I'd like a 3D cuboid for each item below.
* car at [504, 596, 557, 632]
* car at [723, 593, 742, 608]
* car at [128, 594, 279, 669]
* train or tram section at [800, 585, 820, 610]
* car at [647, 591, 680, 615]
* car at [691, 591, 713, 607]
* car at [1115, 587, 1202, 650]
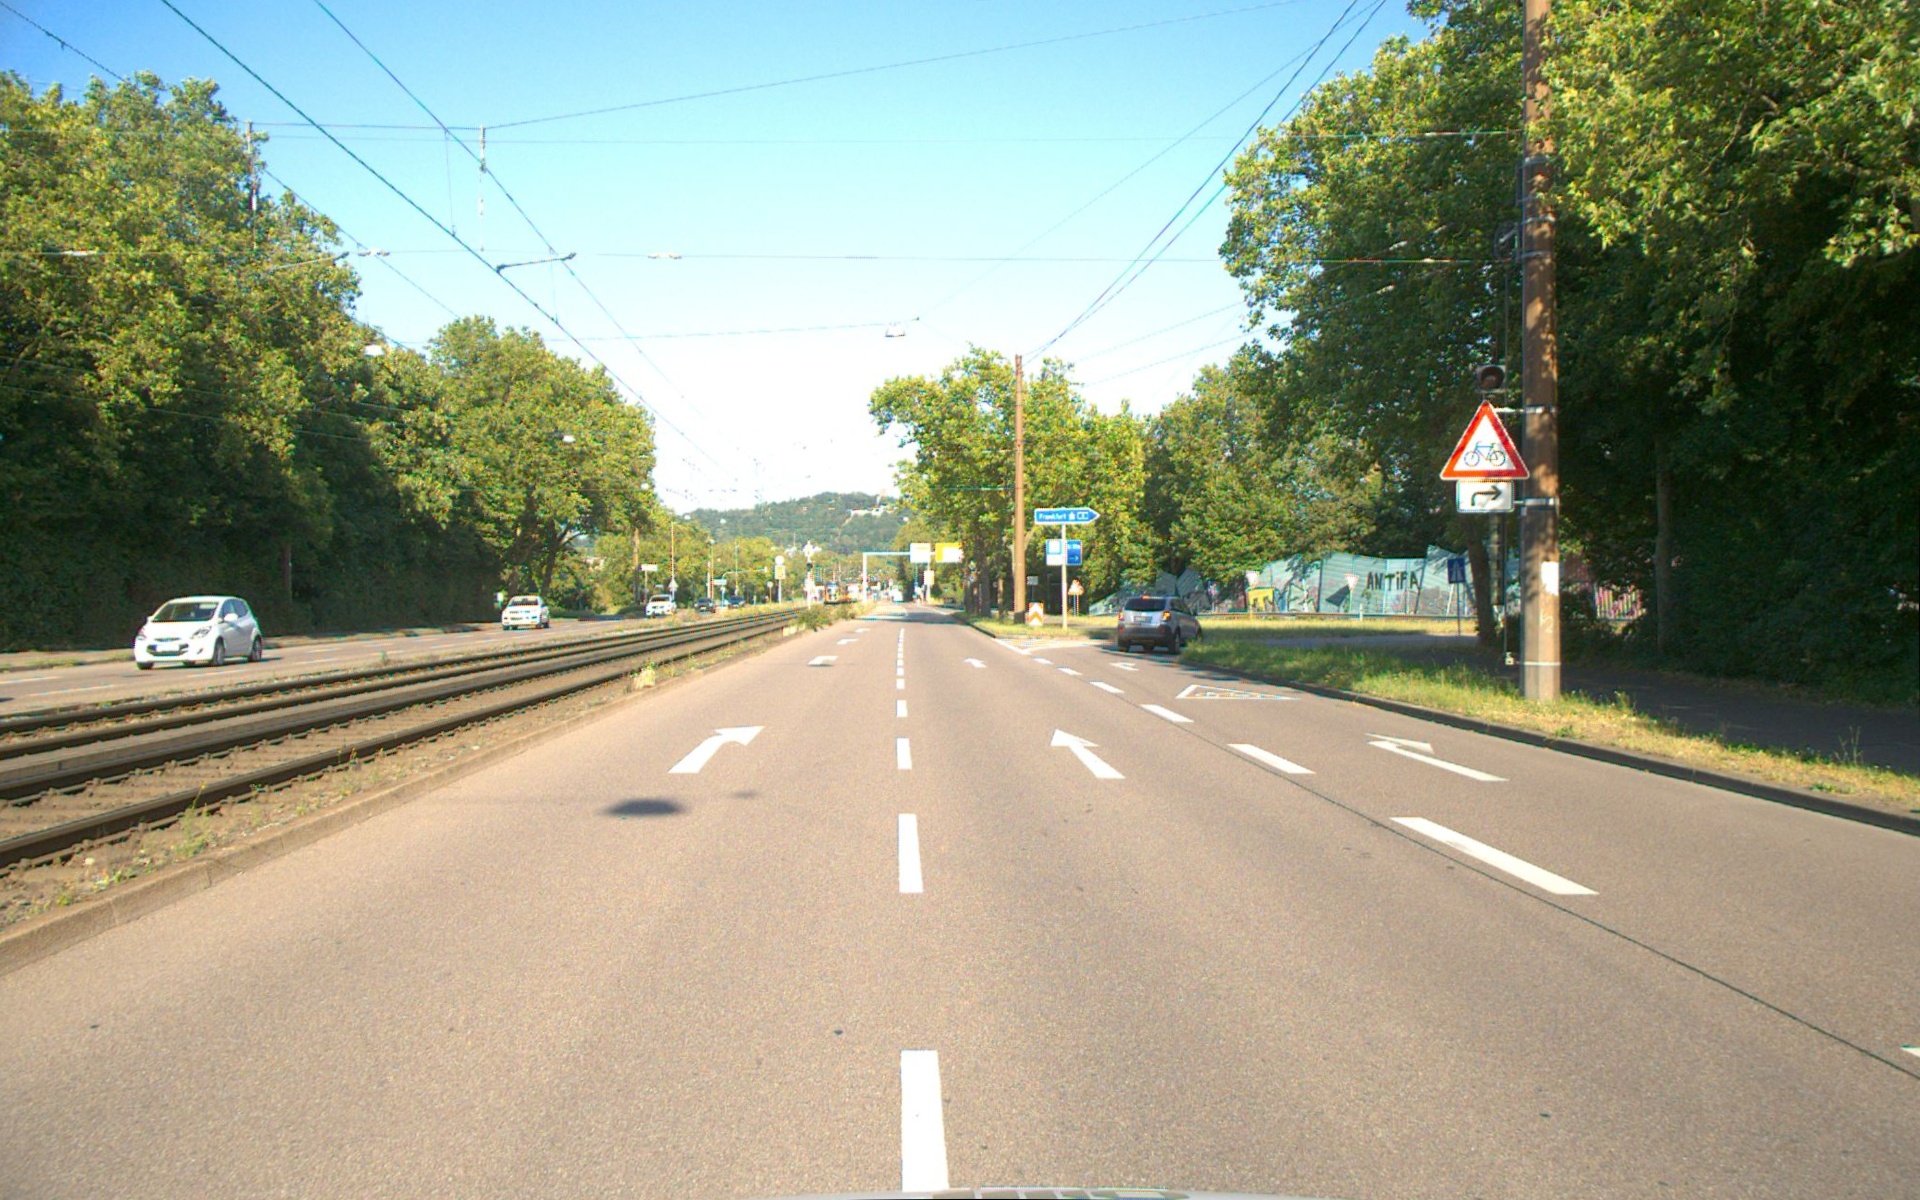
[{"bbox_3d":[-22.285,0.721,85.962,1.810,1.764,4.926,-3,0,-5],"label":"car"},{"bbox_3d":[-26.874,0.085,195.535,1.861,1.724,4.937,-2,0,-4],"label":"car"},{"bbox_3d":[-17.587,0.694,38.651,1.657,1.583,4.189,-2,0,-2],"label":"car"},{"bbox_3d":[-23.902,-0.388,263.539,2.748,3.971,12.324,1,0,-3],"label":"train or tram section"},{"bbox_3d":[-22.505,0.214,125.849,1.924,1.737,4.939,-2,0,-5],"label":"car"},{"bbox_3d":[-25.065,-0.074,160.826,1.677,1.493,4.344,-3,0,-4],"label":"car"},{"bbox_3d":[6.101,0.549,50.521,1.772,1.804,3.862,1,0,21],"label":"car"}]
